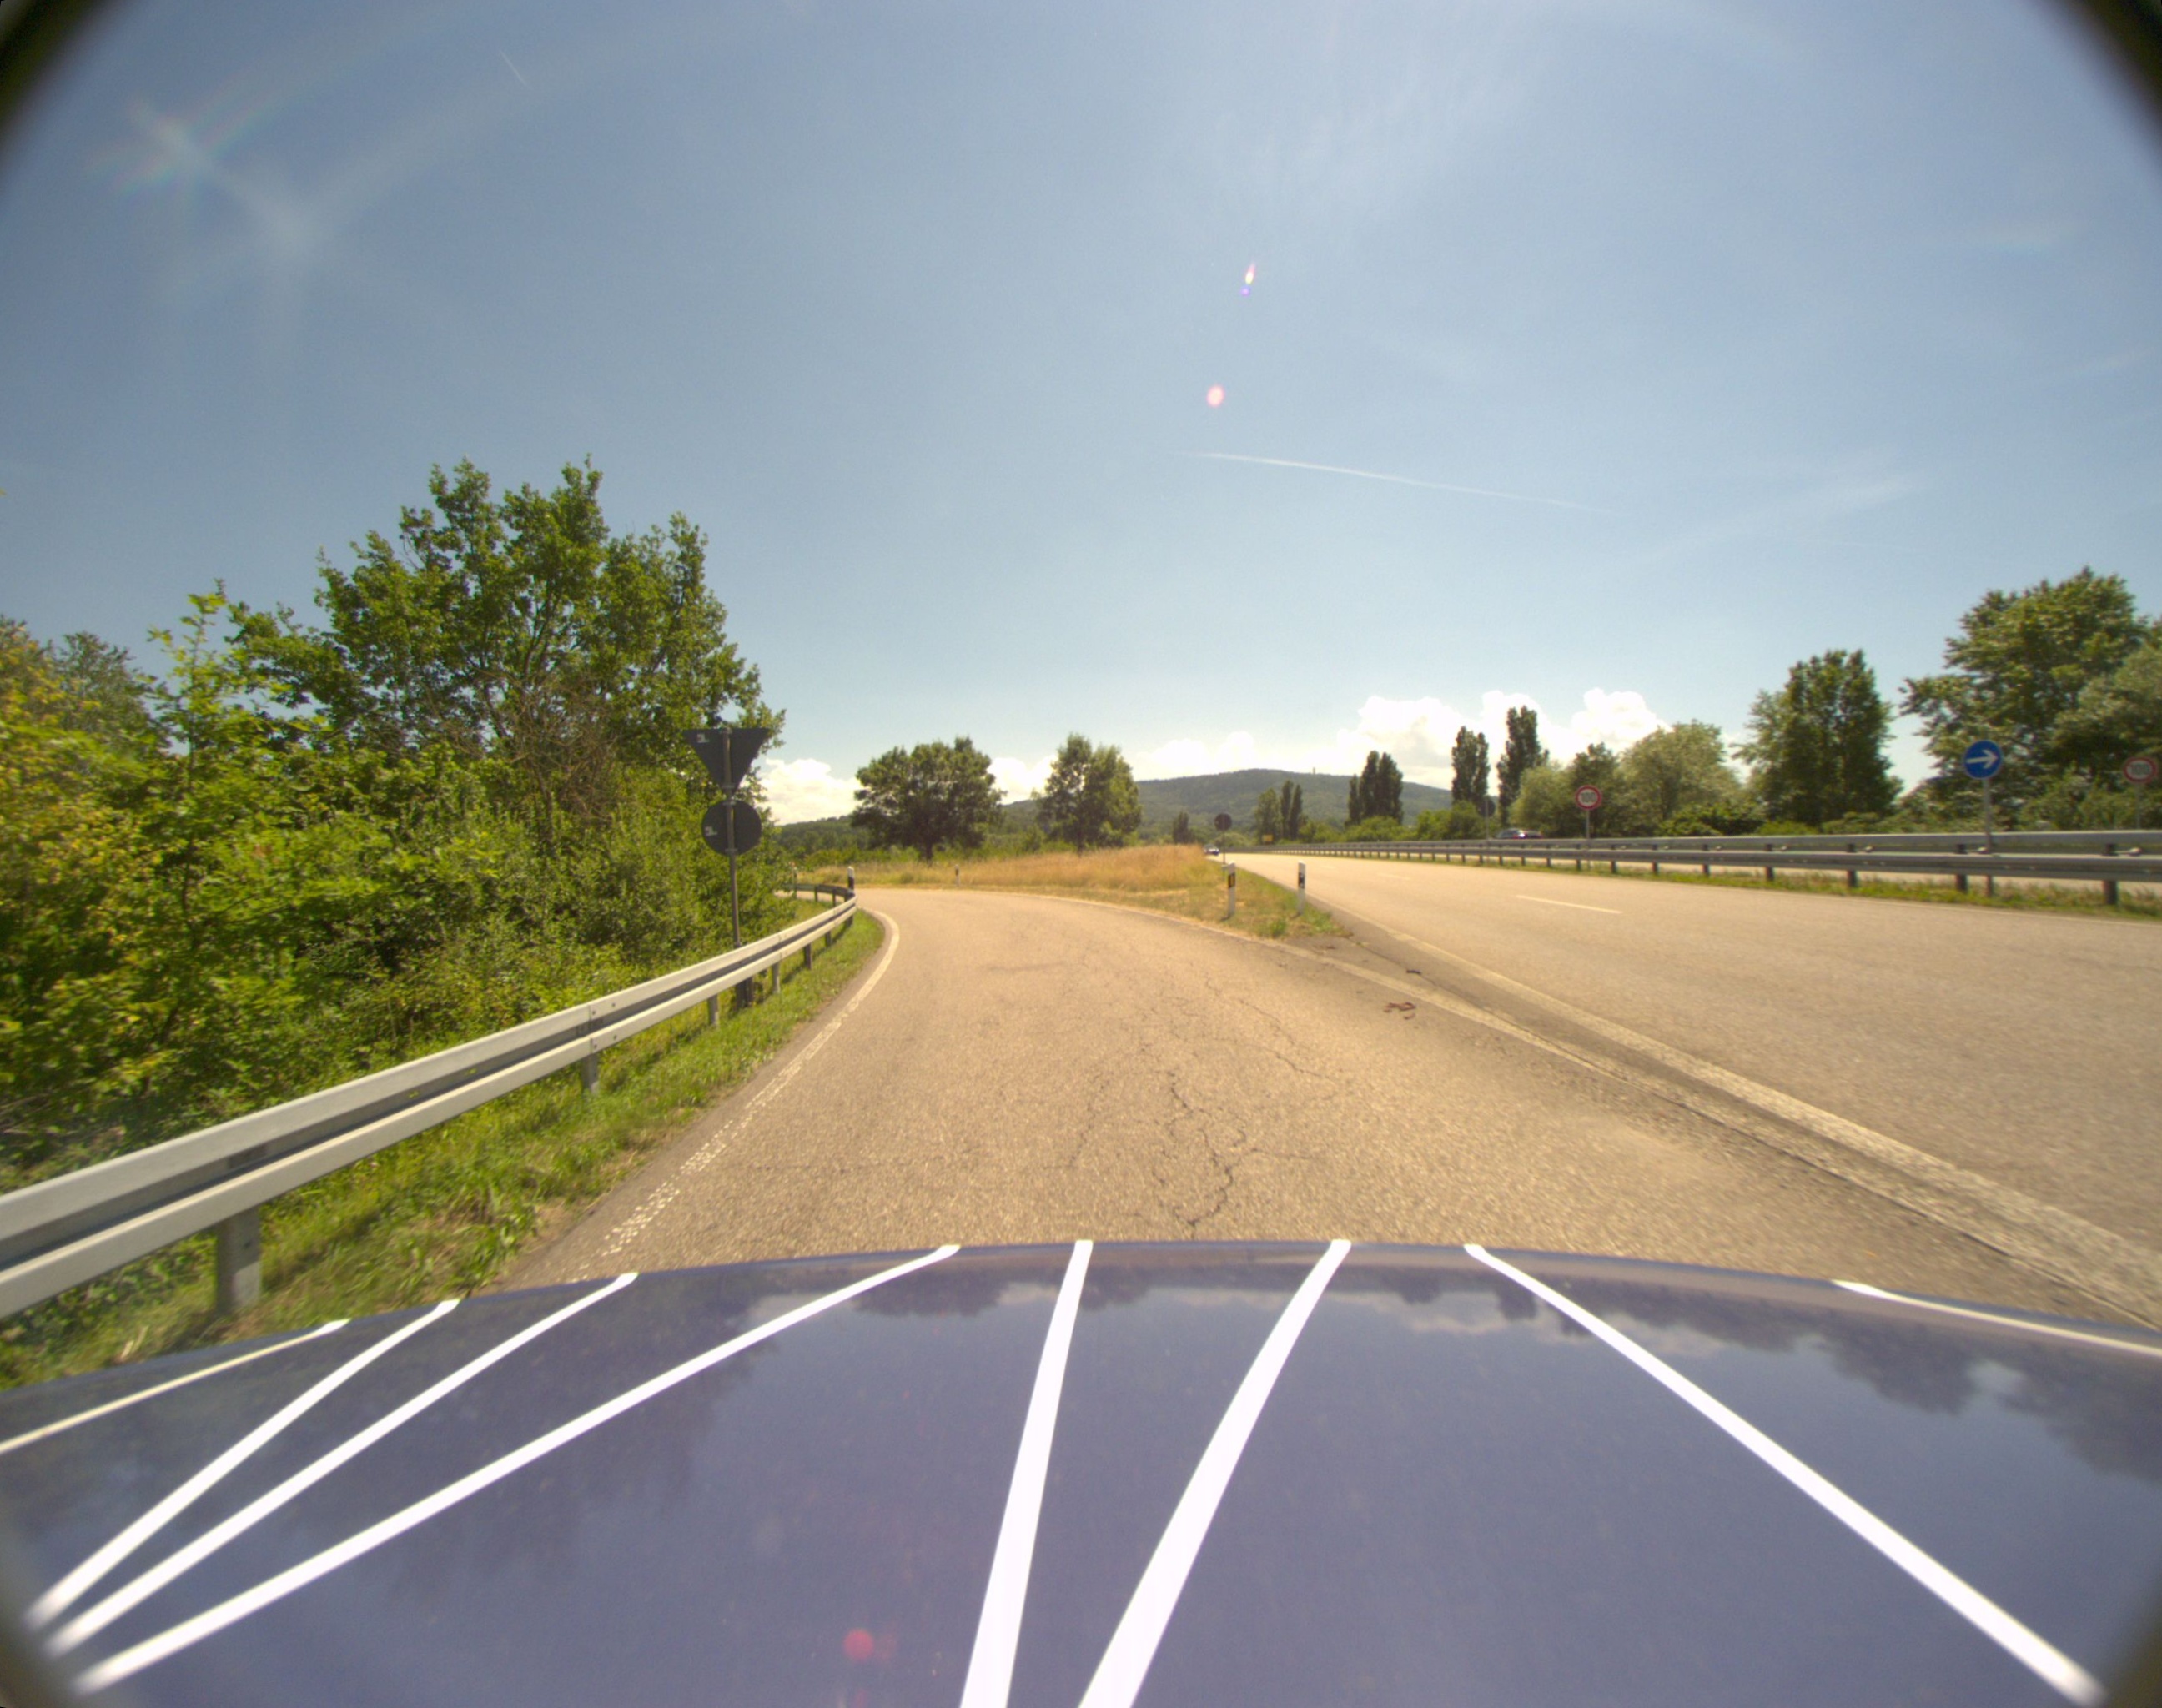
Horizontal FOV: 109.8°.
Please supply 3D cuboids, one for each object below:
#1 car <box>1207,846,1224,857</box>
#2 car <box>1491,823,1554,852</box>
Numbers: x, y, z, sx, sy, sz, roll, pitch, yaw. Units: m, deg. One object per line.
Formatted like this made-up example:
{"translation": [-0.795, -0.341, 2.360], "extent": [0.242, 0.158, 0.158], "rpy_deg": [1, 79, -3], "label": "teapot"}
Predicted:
{"translation": [17.401, -0.351, 98.426], "extent": [1.907, 1.368, 3.892], "rpy_deg": [-3, 0, 6], "label": "car"}
{"translation": [25.402, -0.922, 43.850], "extent": [1.785, 1.510, 3.705], "rpy_deg": [-3, 1, 7], "label": "car"}
